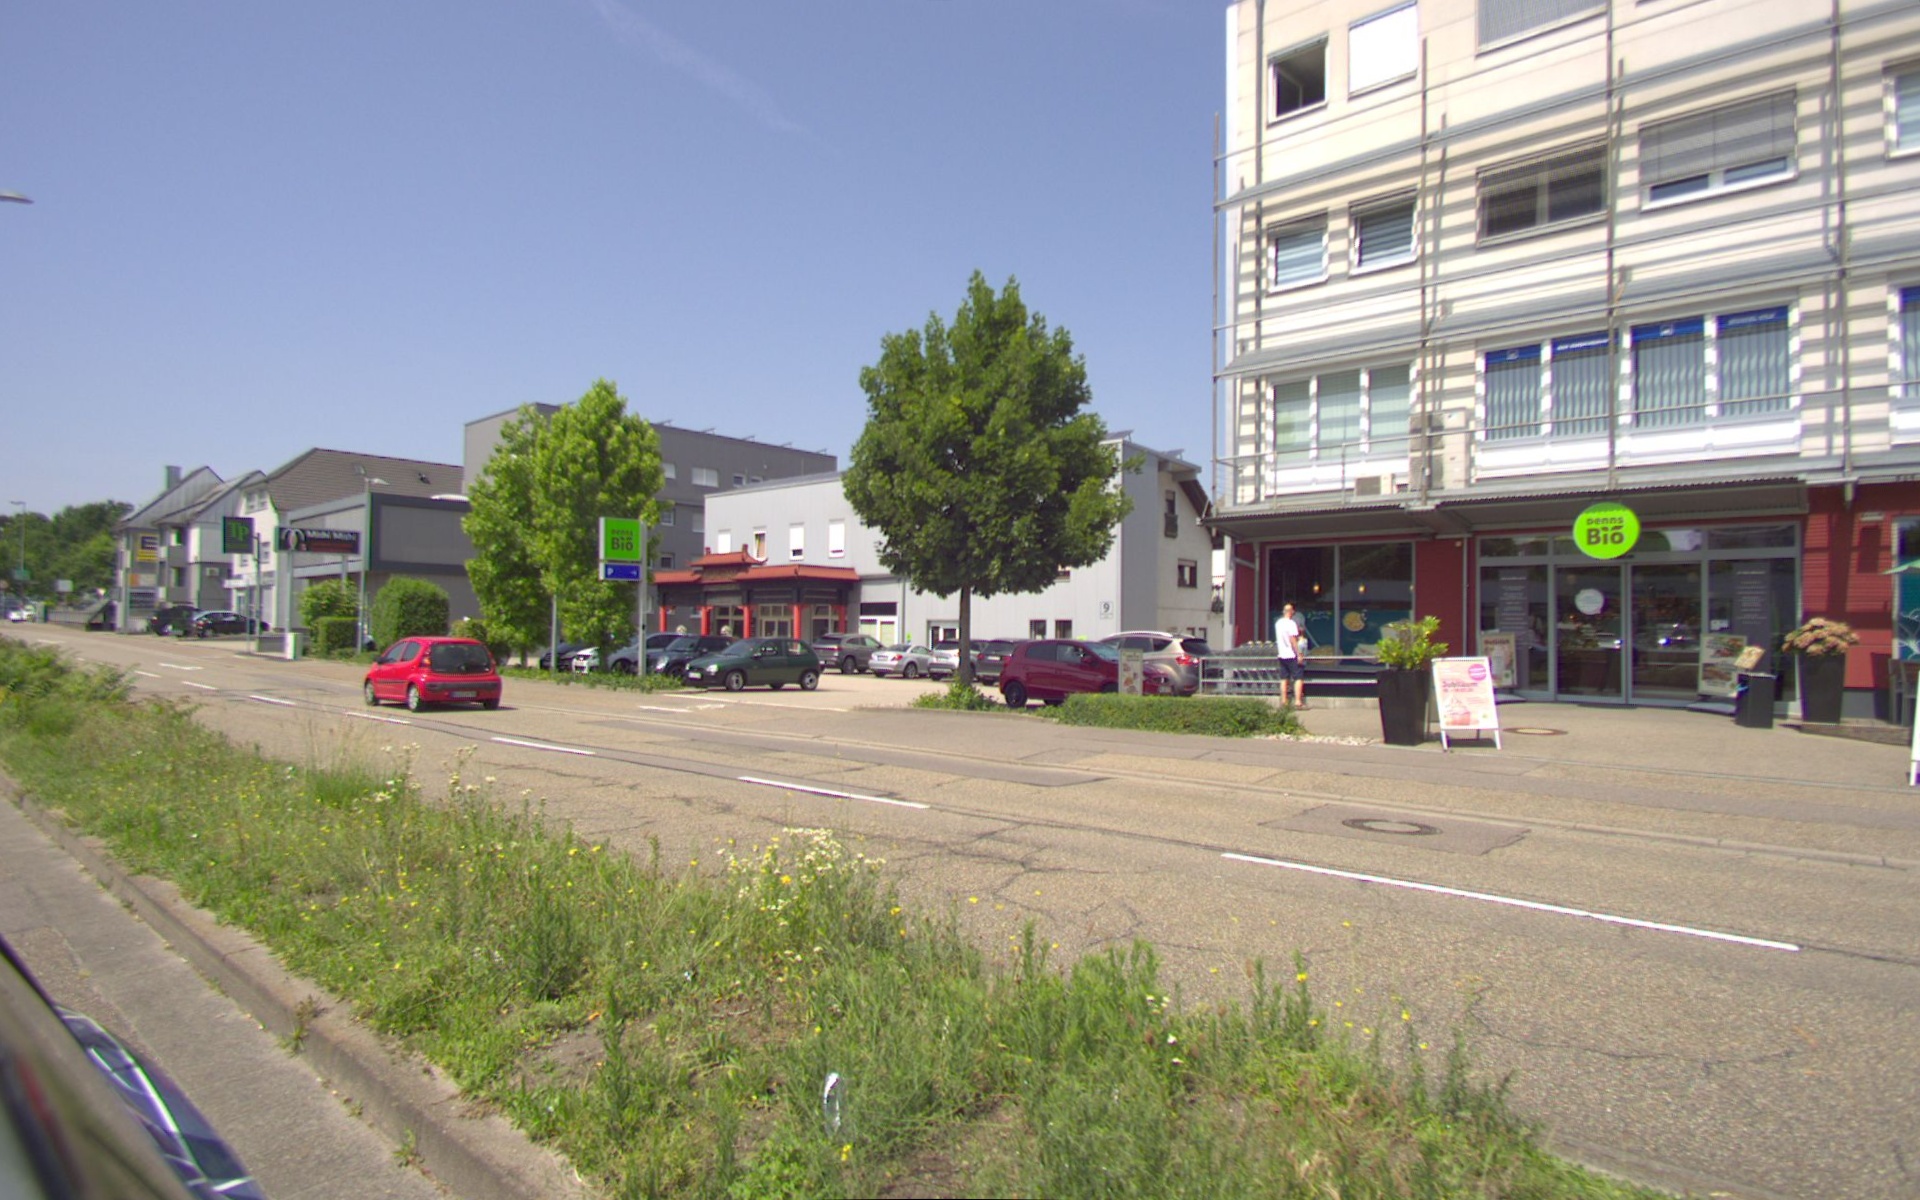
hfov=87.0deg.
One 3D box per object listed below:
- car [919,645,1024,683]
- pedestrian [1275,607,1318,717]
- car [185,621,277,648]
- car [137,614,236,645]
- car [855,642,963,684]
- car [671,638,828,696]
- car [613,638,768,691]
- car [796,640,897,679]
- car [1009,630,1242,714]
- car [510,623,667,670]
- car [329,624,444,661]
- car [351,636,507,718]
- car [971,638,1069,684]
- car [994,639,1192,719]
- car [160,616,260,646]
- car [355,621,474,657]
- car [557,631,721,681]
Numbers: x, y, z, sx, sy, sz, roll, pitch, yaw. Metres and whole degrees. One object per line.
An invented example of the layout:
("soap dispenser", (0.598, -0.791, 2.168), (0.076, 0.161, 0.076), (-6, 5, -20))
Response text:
("car", (0.458, 2.303, 37.136), (1.859, 1.295, 3.799), (-1, -3, 40))
("pedestrian", (5.907, 1.074, 17.773), (0.498, 1.881, 0.668), (-2, -3, 41))
("car", (-43.420, 2.046, 60.320), (1.997, 1.532, 4.018), (0, -2, 37))
("car", (-48.244, 1.830, 63.200), (1.852, 1.639, 4.560), (0, 2, 40))
("car", (-1.906, 2.425, 38.773), (2.070, 1.478, 3.936), (-1, -4, 38))
("car", (-5.397, 1.726, 26.246), (1.779, 1.375, 3.619), (-2, -4, 41))
("car", (-7.421, 1.751, 28.167), (1.858, 1.344, 3.799), (-2, -3, 40))
("car", (-4.518, 2.353, 40.881), (1.960, 1.478, 3.937), (-1, -2, 35))
("car", (3.708, 1.603, 23.393), (5.162, 1.747, 1.741), (-1, -5, 40))
("car", (-11.509, 1.460, 31.554), (2.040, 1.352, 4.108), (-1, -4, 38))
("car", (-24.555, 1.813, 43.441), (1.572, 1.470, 3.952), (1, -1, 35))
("car", (-10.724, 1.487, 20.364), (3.449, 1.435, 1.613), (-1, -3, 41))
("car", (2.113, 2.033, 34.551), (1.760, 1.471, 3.808), (-1, -2, 32))
("car", (2.708, 1.596, 21.061), (3.795, 1.478, 1.642), (-1, -5, 40))
("car", (-45.684, 1.884, 61.749), (1.747, 1.508, 4.571), (-1, 2, 32))
("car", (-22.530, 1.632, 41.896), (1.669, 1.382, 3.953), (-2, -5, 43))
("car", (-9.361, 1.651, 29.732), (1.979, 1.359, 4.181), (-1, -4, 40))
